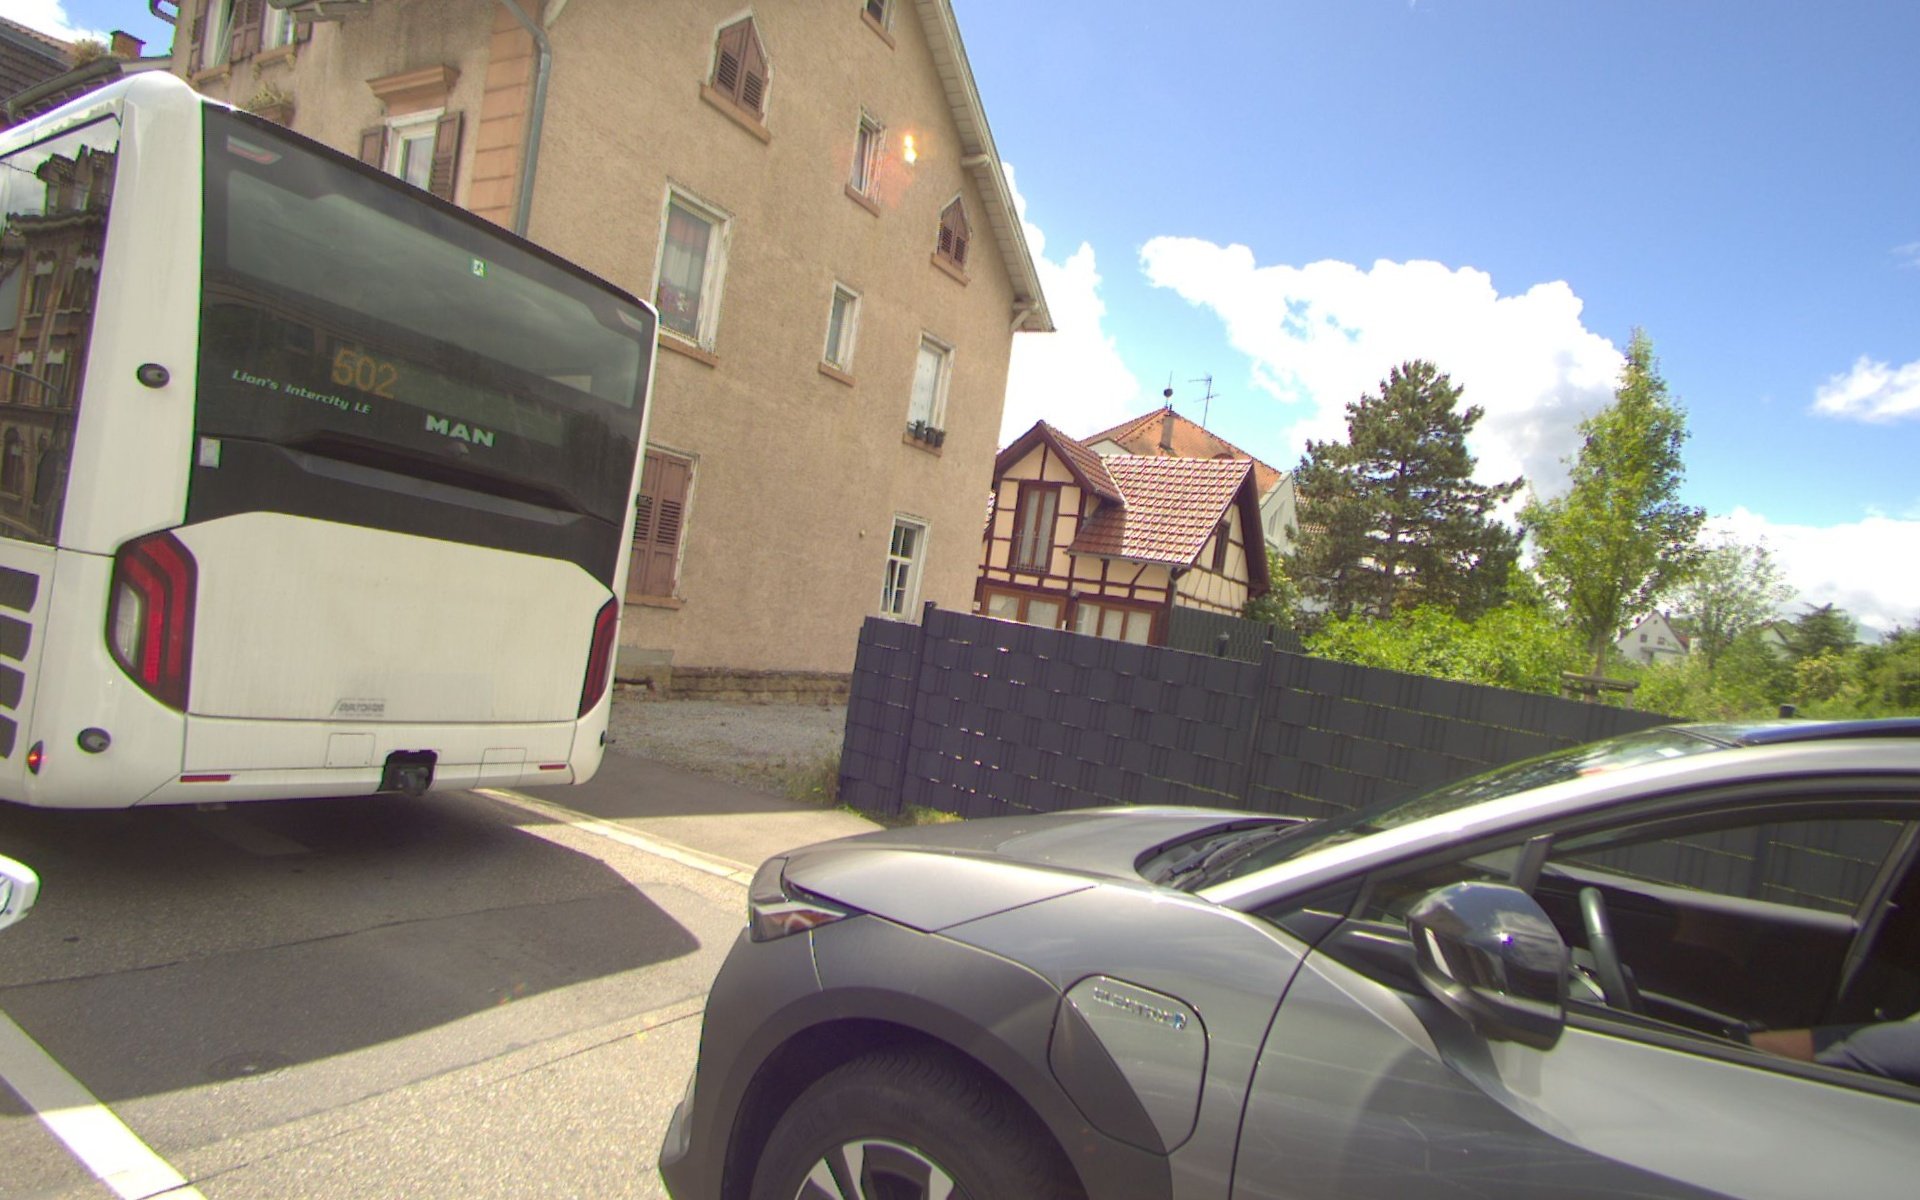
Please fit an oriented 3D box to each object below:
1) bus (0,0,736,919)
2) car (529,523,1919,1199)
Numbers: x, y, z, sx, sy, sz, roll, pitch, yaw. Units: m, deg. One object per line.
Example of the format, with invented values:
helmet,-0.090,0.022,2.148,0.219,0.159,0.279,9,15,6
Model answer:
bus,-7.430,-1.129,7.755,12.281,3.551,2.910,6,-2,32
car,1.565,0.965,1.850,4.504,1.648,1.997,7,-1,31
